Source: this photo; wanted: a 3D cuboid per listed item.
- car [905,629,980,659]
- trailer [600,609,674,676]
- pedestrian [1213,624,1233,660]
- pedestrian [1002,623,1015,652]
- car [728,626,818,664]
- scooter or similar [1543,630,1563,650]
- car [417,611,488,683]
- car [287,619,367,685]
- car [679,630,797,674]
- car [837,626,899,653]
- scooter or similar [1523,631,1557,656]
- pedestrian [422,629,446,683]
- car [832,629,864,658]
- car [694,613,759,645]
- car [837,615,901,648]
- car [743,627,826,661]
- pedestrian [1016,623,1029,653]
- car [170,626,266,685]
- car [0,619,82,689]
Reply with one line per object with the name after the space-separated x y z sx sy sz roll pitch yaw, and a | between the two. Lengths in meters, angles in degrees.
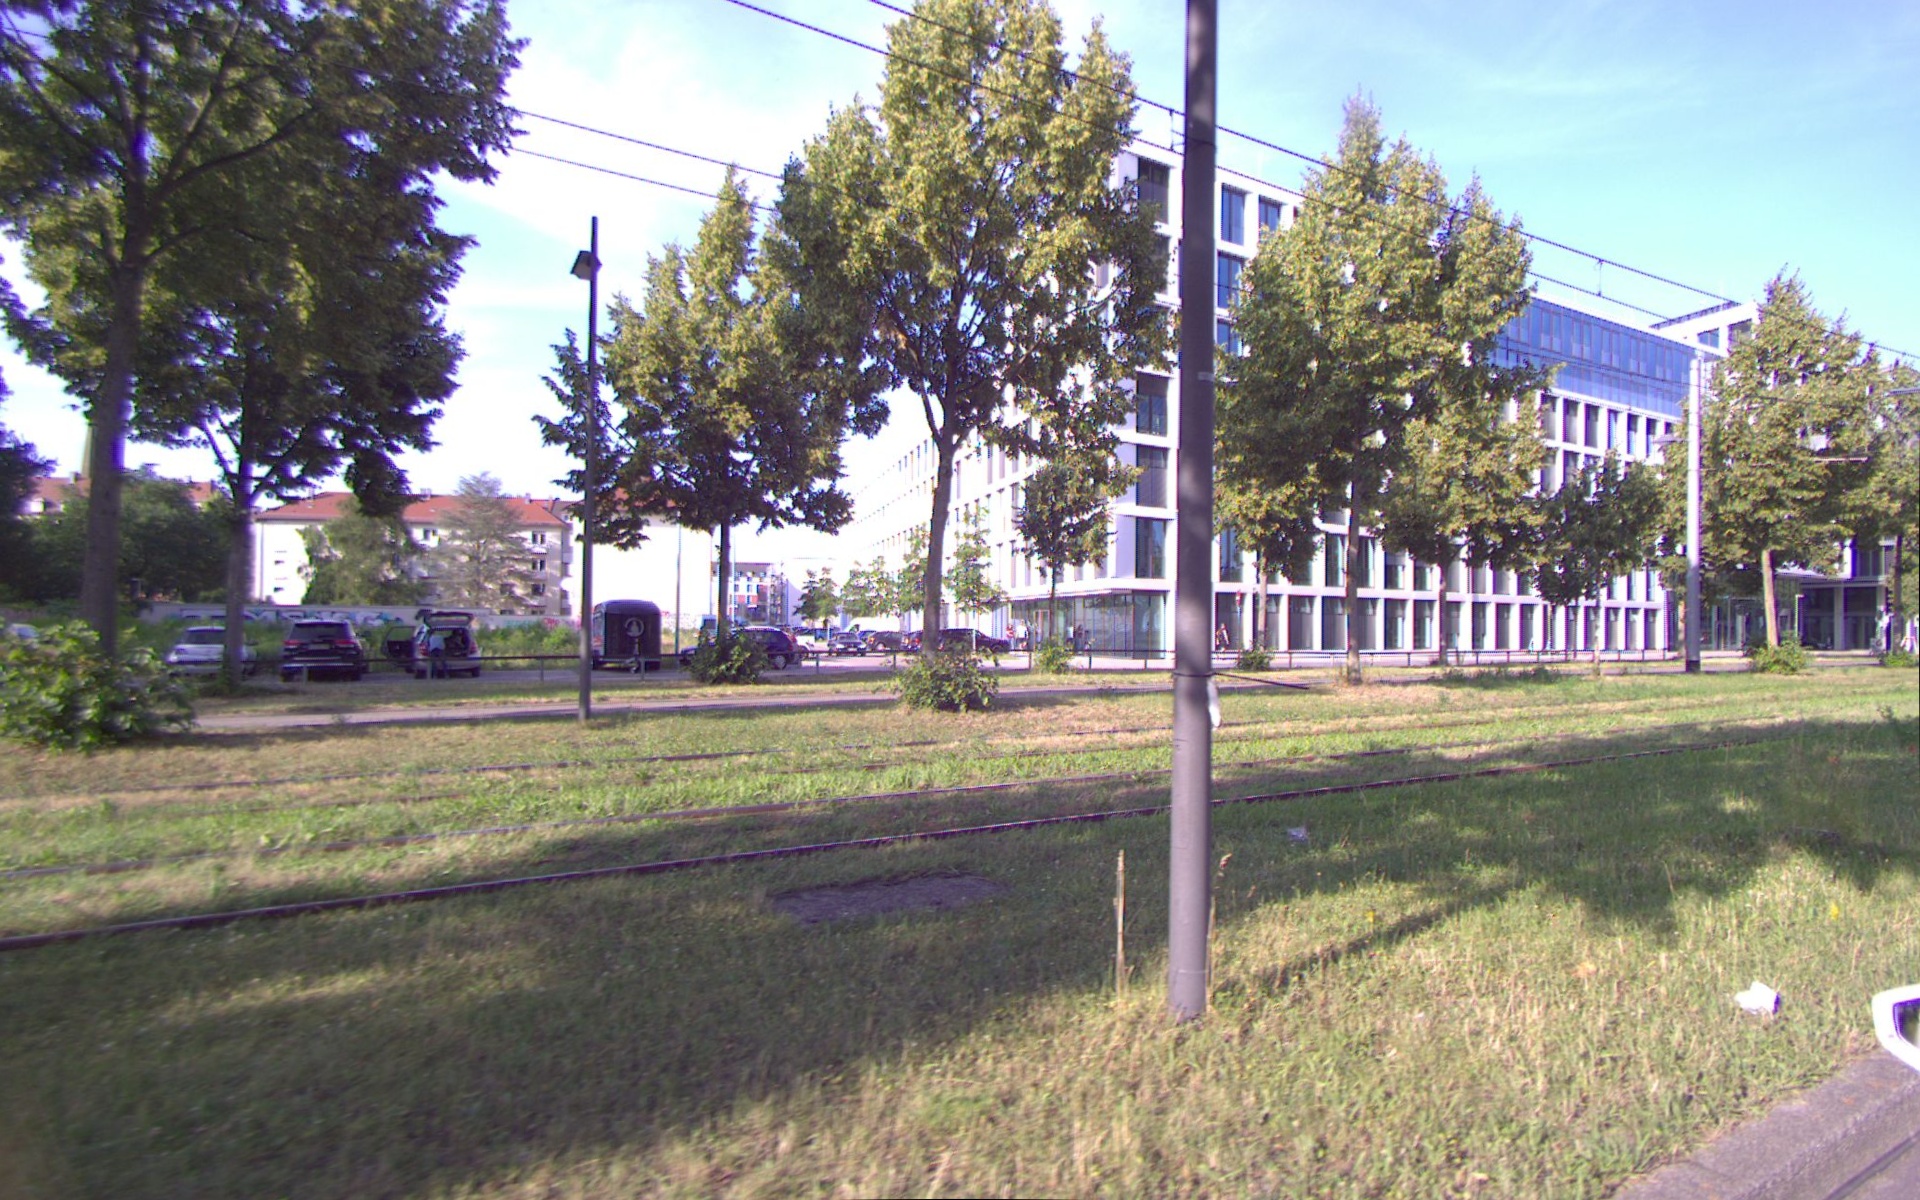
-1.003 2.492 56.791 3.934 1.556 1.585 2 0 -15 | car
-11.242 1.413 34.775 1.735 2.081 4.348 2 0 -27 | trailer
12.911 2.075 49.314 0.684 1.751 0.564 2 0 -31 | pedestrian
2.854 2.214 59.094 0.622 1.652 0.591 2 4 -6 | pedestrian
-8.871 2.139 47.684 3.940 1.617 1.845 2 0 -20 | car
38.371 2.614 64.986 1.278 1.242 0.335 2 0 -18 | scooter or similar
-15.640 1.380 30.866 1.737 1.973 3.973 2 0 -29 | car
-18.252 1.452 29.099 1.737 1.665 3.973 2 0 -29 | car
-7.863 1.819 35.704 3.723 1.412 1.668 2 0 -34 | car
-6.415 2.731 69.902 4.088 1.711 1.806 2 0 -14 | car
36.747 2.759 63.703 0.409 1.496 1.922 2 0 -26 | scooter or similar
-15.202 1.610 29.041 0.562 1.500 0.519 2 0 -31 | pedestrian
-6.553 2.520 58.538 1.744 1.446 3.994 2 0 -8 | car
-16.890 2.088 72.703 4.424 2.187 1.847 2 0 -19 | car
-7.489 2.577 82.422 4.945 2.566 1.806 2 0 -14 | car
-8.920 2.220 51.011 3.938 1.578 1.683 2 0 -19 | car
3.659 2.239 59.150 0.622 1.652 0.591 2 4 -6 | pedestrian
-20.938 1.534 28.474 1.705 1.444 3.551 2 0 -29 | car
-24.776 1.367 26.241 1.833 1.581 3.971 2 0 -28 | car
